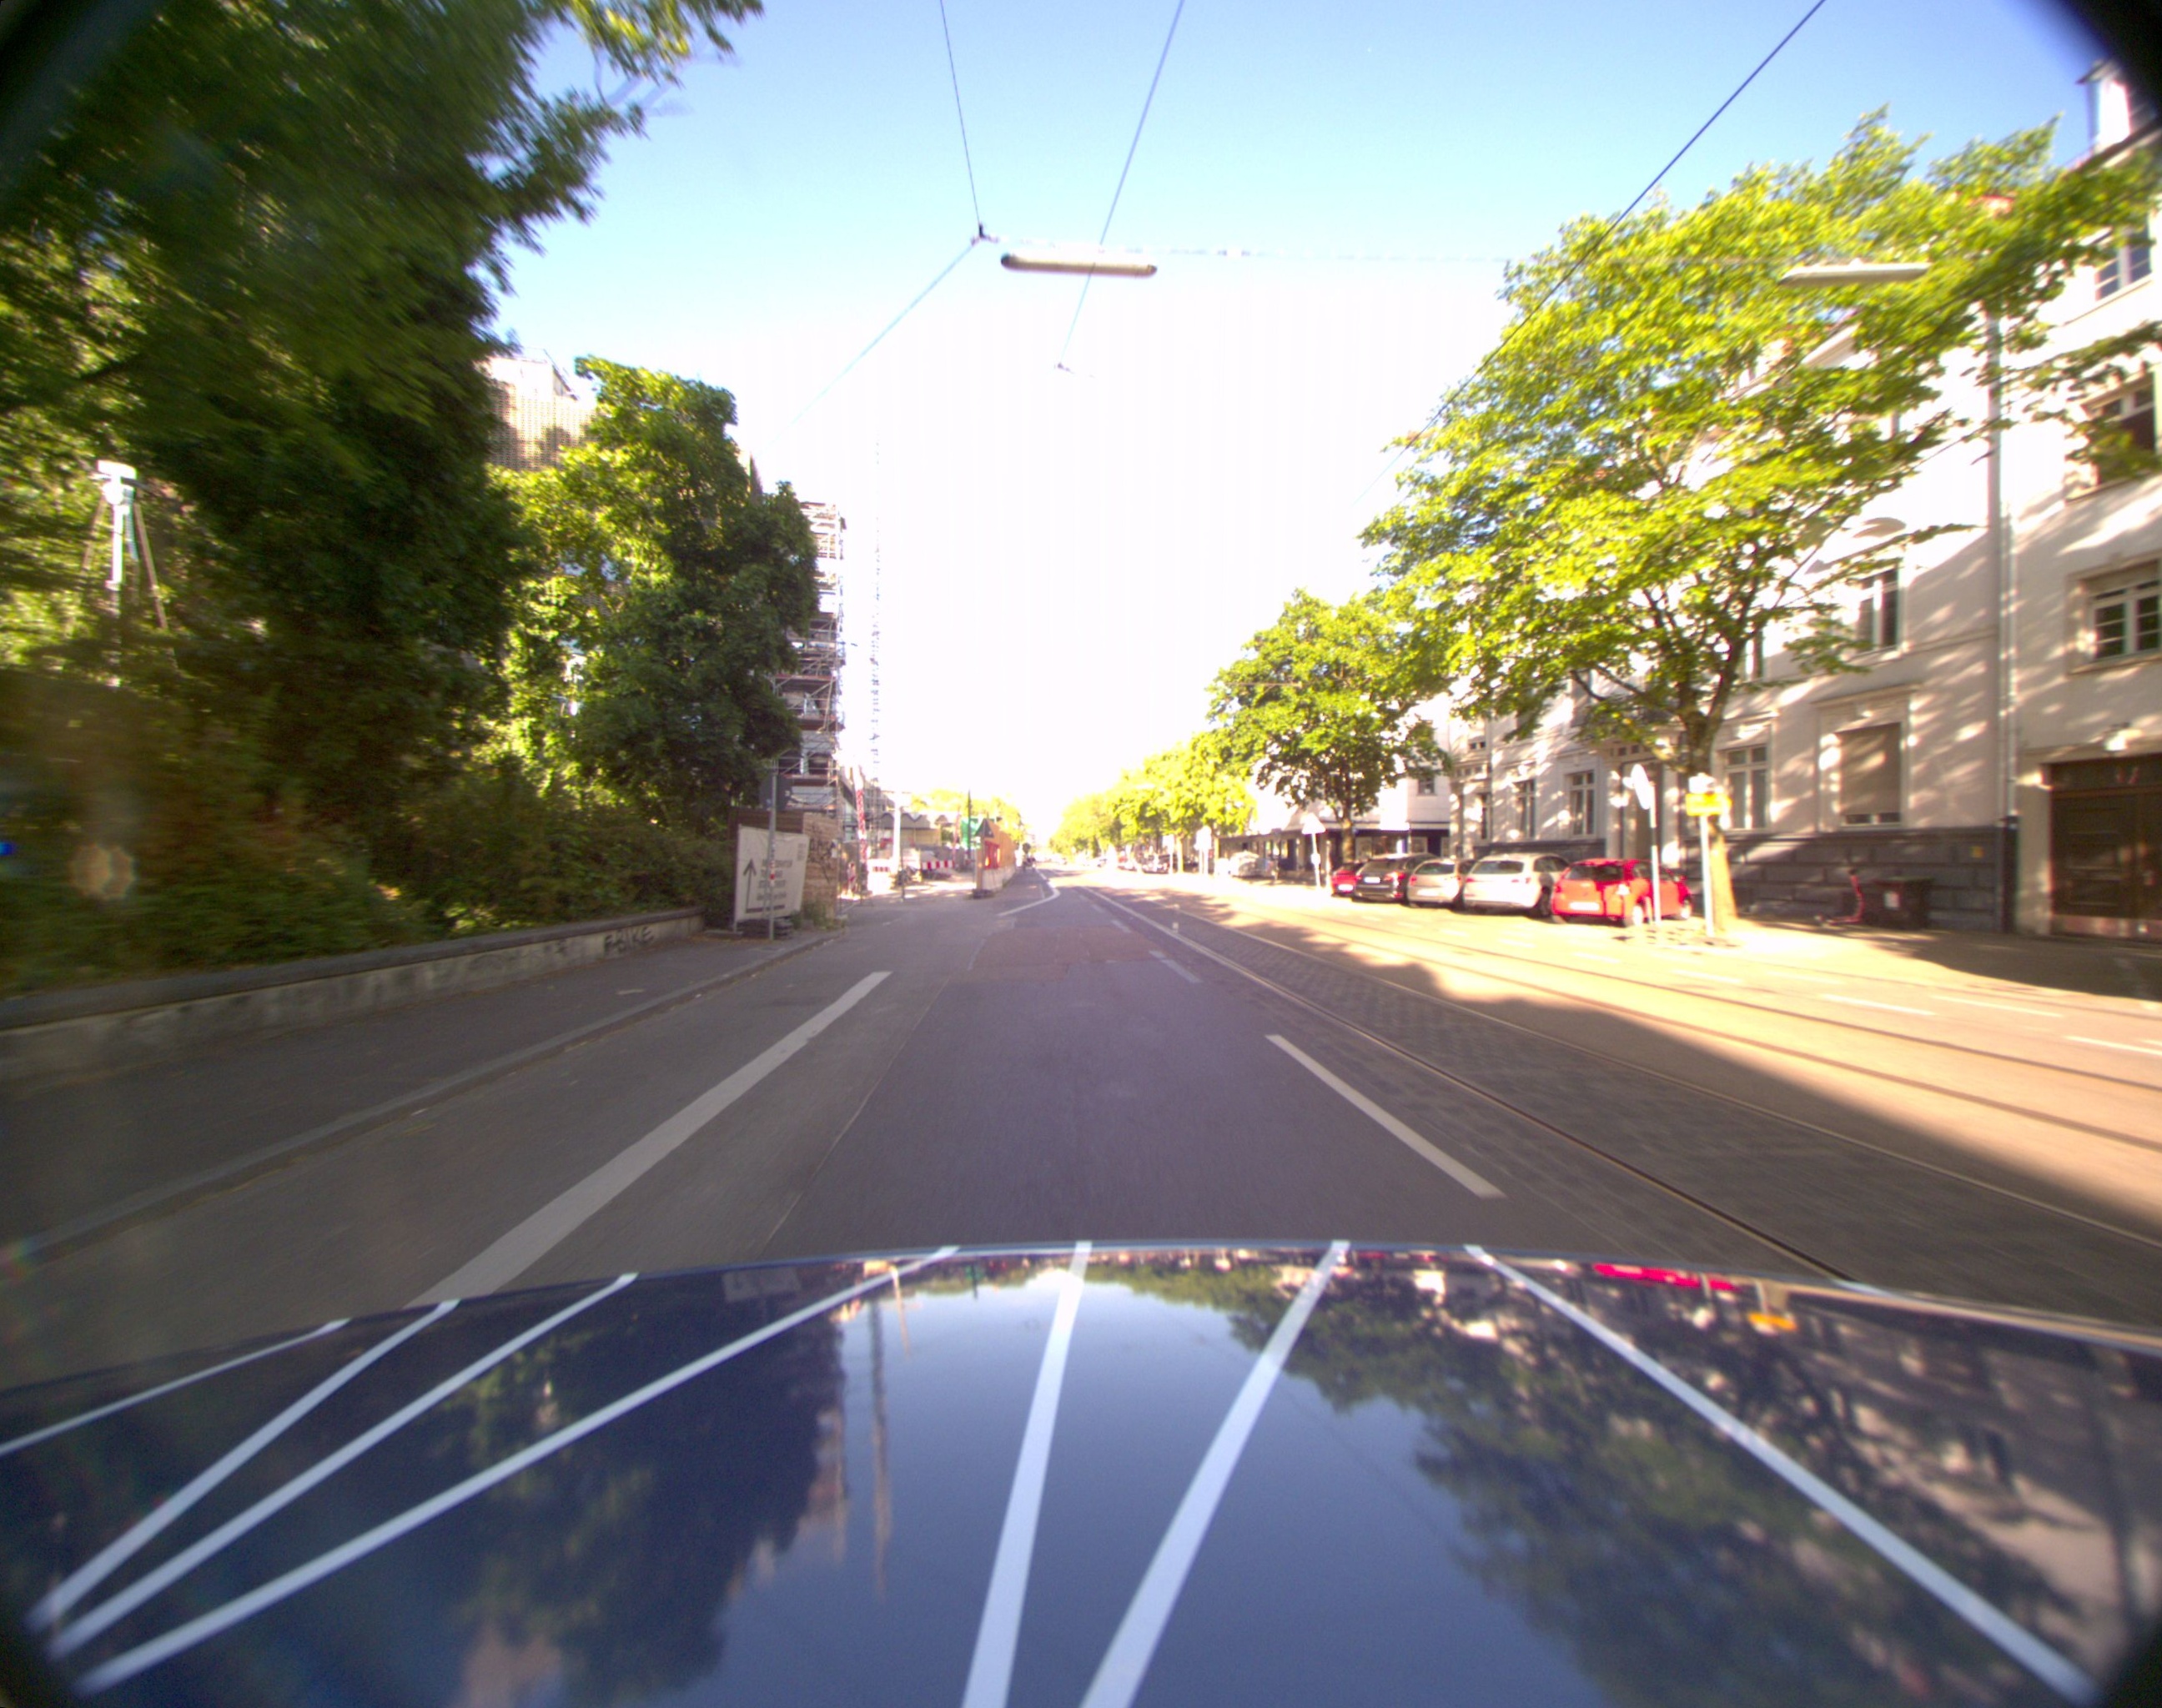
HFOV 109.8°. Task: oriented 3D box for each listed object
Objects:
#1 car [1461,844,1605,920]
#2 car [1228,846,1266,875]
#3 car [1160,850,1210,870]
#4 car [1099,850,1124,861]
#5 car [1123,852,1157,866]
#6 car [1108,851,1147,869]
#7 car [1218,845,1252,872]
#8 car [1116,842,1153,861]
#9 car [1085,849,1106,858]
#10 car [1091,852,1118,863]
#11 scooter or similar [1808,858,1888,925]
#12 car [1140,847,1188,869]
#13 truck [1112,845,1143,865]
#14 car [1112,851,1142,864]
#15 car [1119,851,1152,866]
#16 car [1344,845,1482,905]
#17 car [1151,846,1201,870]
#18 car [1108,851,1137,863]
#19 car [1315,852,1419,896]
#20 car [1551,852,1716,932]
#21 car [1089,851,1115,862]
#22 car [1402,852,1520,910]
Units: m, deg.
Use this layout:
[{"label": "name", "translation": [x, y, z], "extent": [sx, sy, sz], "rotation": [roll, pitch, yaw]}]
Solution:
[{"label": "car", "translation": [12.264, 0.679, 20.531], "extent": [4.208, 1.714, 1.780], "rotation": [-3, 2, -36]}, {"label": "car", "translation": [11.133, 0.421, 51.134], "extent": [1.672, 1.886, 3.213], "rotation": [0, 0, -4]}, {"label": "car", "translation": [9.393, 0.502, 68.468], "extent": [4.102, 1.561, 1.671], "rotation": [-3, 1, -9]}, {"label": "car", "translation": [5.006, 0.275, 125.591], "extent": [3.773, 1.584, 1.671], "rotation": [-3, 1, -9]}, {"label": "car", "translation": [7.261, 0.611, 93.828], "extent": [3.773, 1.584, 1.671], "rotation": [-3, 1, -9]}, {"label": "car", "translation": [5.181, 0.656, 84.868], "extent": [4.102, 1.767, 1.671], "rotation": [-3, 1, -9]}, {"label": "car", "translation": [11.121, 0.335, 55.127], "extent": [1.672, 1.886, 3.213], "rotation": [0, 0, -4]}, {"label": "car", "translation": [6.079, -0.314, 86.875], "extent": [3.806, 1.928, 1.671], "rotation": [-3, 1, -9]}, {"label": "car", "translation": [2.625, -0.016, 139.727], "extent": [3.622, 1.492, 1.503], "rotation": [-3, 1, -9]}, {"label": "car", "translation": [3.601, 0.532, 116.495], "extent": [3.773, 1.584, 1.671], "rotation": [-3, 1, -9]}, {"label": "scooter or similar", "translation": [16.267, 0.772, 16.142], "extent": [0.401, 1.350, 1.286], "rotation": [0, 0, 1]}, {"label": "car", "translation": [8.066, 0.369, 74.184], "extent": [4.308, 1.940, 1.671], "rotation": [-3, 1, -9]}, {"label": "truck", "translation": [6.163, 0.093, 101.054], "extent": [3.771, 2.409, 1.672], "rotation": [-3, 1, -4]}, {"label": "car", "translation": [6.298, 0.488, 104.134], "extent": [3.773, 1.584, 1.671], "rotation": [-3, 1, -9]}, {"label": "car", "translation": [6.850, 0.555, 96.039], "extent": [3.773, 1.584, 1.671], "rotation": [-3, 1, -9]}, {"label": "car", "translation": [11.324, 0.653, 25.873], "extent": [4.365, 1.704, 1.944], "rotation": [-3, 2, -27]}, {"label": "car", "translation": [8.861, 0.361, 71.220], "extent": [4.308, 1.940, 1.671], "rotation": [-3, 1, -9]}, {"label": "car", "translation": [5.913, 0.414, 107.875], "extent": [3.773, 1.584, 1.671], "rotation": [-3, 1, -9]}, {"label": "car", "translation": [11.121, 0.729, 29.473], "extent": [4.006, 1.477, 1.777], "rotation": [-3, 2, -35]}, {"label": "car", "translation": [12.899, 0.800, 17.683], "extent": [4.207, 1.549, 1.636], "rotation": [-2, 1, -32]}, {"label": "car", "translation": [3.334, 0.420, 119.895], "extent": [3.773, 1.584, 1.671], "rotation": [-3, 1, -9]}, {"label": "car", "translation": [11.773, 0.772, 23.465], "extent": [3.772, 1.511, 1.744], "rotation": [-3, 2, -37]}]
